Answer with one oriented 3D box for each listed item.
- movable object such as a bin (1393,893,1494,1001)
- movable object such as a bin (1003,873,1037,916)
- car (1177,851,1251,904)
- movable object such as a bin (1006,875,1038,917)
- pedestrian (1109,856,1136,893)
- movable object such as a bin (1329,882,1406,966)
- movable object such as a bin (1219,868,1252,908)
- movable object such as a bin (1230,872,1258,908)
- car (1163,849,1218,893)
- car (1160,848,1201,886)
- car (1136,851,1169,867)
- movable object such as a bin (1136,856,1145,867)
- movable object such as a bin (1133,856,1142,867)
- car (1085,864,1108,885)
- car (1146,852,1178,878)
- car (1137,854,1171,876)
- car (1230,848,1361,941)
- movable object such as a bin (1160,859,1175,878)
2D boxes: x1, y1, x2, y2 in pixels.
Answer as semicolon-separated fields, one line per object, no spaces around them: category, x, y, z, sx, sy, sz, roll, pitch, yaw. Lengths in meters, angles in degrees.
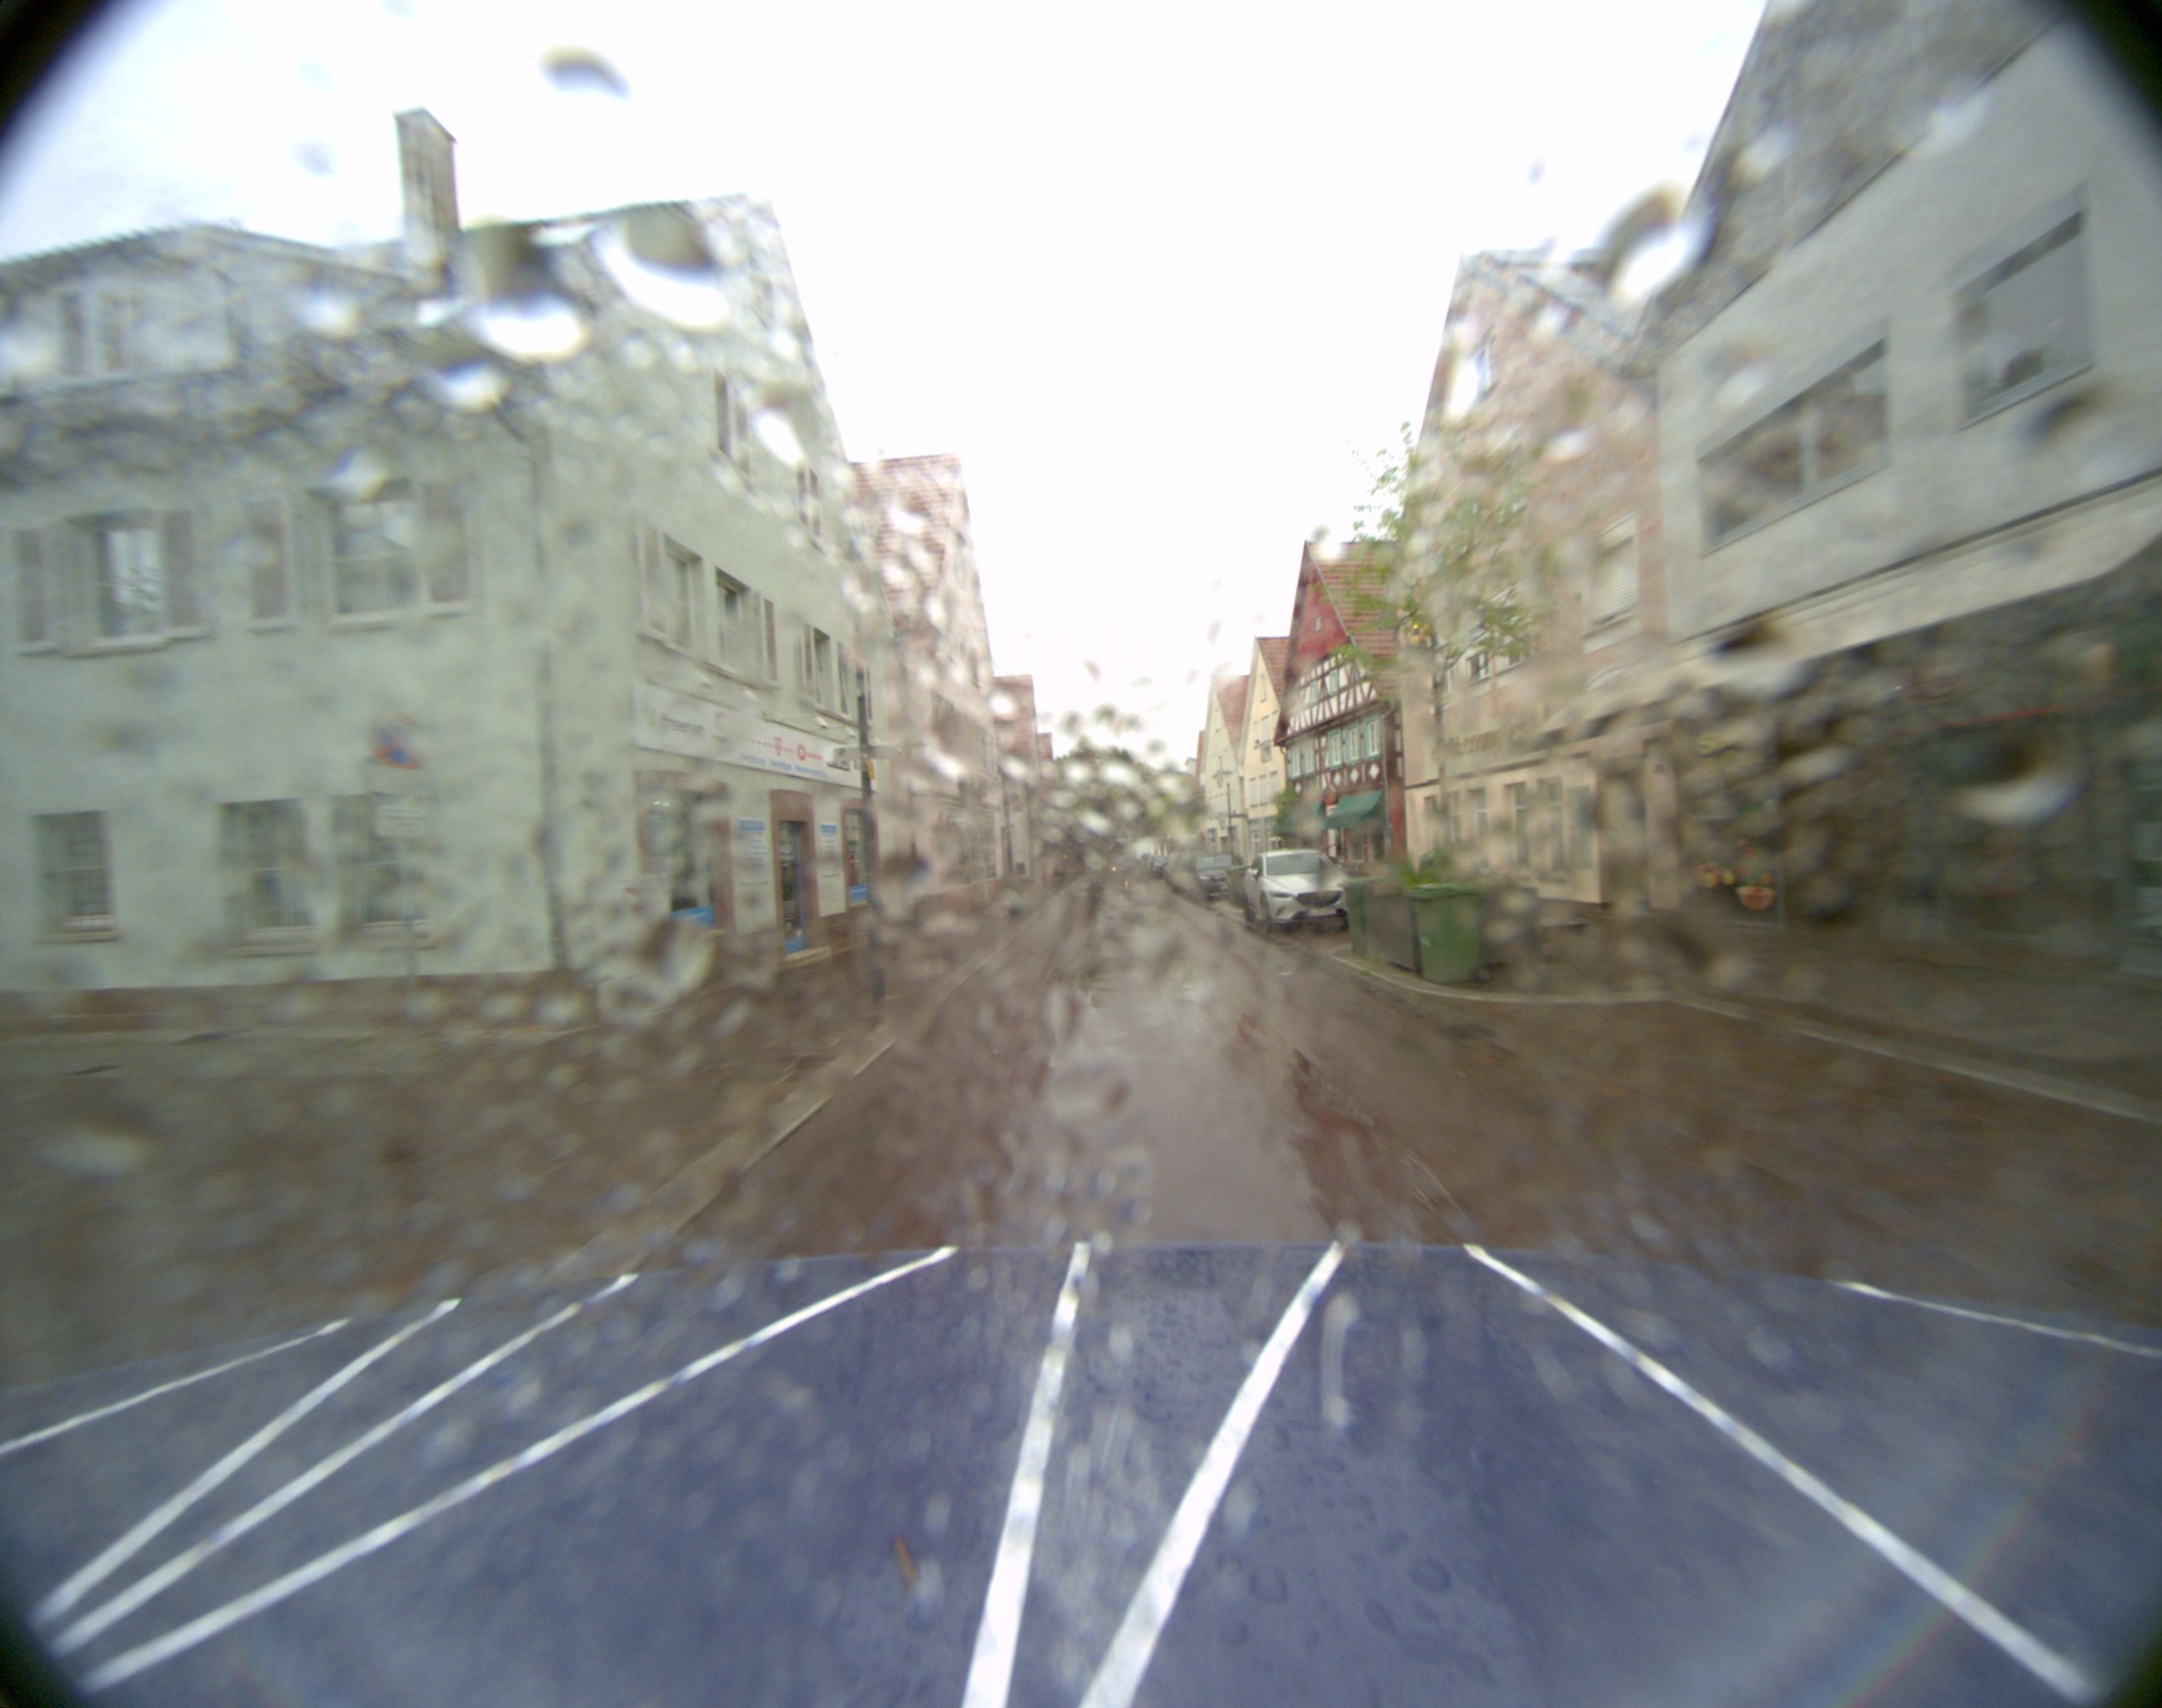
movable object such as a bin;3.892;0.982;8.209;0.711;1.046;0.704;-4;0;3
movable object such as a bin;-1.622;1.081;20.267;0.798;1.074;0.582;-3;2;-1
car;4.483;0.733;26.225;1.784;1.529;4.290;-5;0;1
movable object such as a bin;-1.614;1.134;20.885;0.794;1.074;0.615;-3;2;-1
pedestrian;2.029;0.997;36.998;1.176;1.672;0.790;-4;2;0
movable object such as a bin;4.044;0.977;10.784;0.788;1.078;0.693;-5;0;5
movable object such as a bin;4.526;0.986;22.320;0.771;1.076;0.675;-4;2;-2
movable object such as a bin;4.646;1.021;21.682;0.610;0.933;0.499;-4;2;-2
car;4.595;0.695;32.470;1.828;1.656;4.644;-4;-1;4
car;5.114;0.627;39.450;1.828;1.657;4.643;-4;2;5
car;7.983;0.540;84.486;1.788;1.546;3.957;-2;1;36
movable object such as a bin;6.430;0.795;81.821;0.726;1.087;0.611;-3;2;26
movable object such as a bin;6.089;0.834;81.233;0.726;1.077;0.605;-3;2;26
car;1.319;1.716;64.128;1.784;1.529;4.291;-5;-1;1
car;5.378;0.680;50.878;1.866;1.515;4.329;-5;0;4
car;5.372;0.820;56.532;1.867;1.433;4.618;-3;0;-2
car;4.224;0.744;15.591;1.695;1.529;4.122;-4;-1;4
movable object such as a bin;5.175;0.883;45.643;0.748;1.077;0.744;-4;2;0
